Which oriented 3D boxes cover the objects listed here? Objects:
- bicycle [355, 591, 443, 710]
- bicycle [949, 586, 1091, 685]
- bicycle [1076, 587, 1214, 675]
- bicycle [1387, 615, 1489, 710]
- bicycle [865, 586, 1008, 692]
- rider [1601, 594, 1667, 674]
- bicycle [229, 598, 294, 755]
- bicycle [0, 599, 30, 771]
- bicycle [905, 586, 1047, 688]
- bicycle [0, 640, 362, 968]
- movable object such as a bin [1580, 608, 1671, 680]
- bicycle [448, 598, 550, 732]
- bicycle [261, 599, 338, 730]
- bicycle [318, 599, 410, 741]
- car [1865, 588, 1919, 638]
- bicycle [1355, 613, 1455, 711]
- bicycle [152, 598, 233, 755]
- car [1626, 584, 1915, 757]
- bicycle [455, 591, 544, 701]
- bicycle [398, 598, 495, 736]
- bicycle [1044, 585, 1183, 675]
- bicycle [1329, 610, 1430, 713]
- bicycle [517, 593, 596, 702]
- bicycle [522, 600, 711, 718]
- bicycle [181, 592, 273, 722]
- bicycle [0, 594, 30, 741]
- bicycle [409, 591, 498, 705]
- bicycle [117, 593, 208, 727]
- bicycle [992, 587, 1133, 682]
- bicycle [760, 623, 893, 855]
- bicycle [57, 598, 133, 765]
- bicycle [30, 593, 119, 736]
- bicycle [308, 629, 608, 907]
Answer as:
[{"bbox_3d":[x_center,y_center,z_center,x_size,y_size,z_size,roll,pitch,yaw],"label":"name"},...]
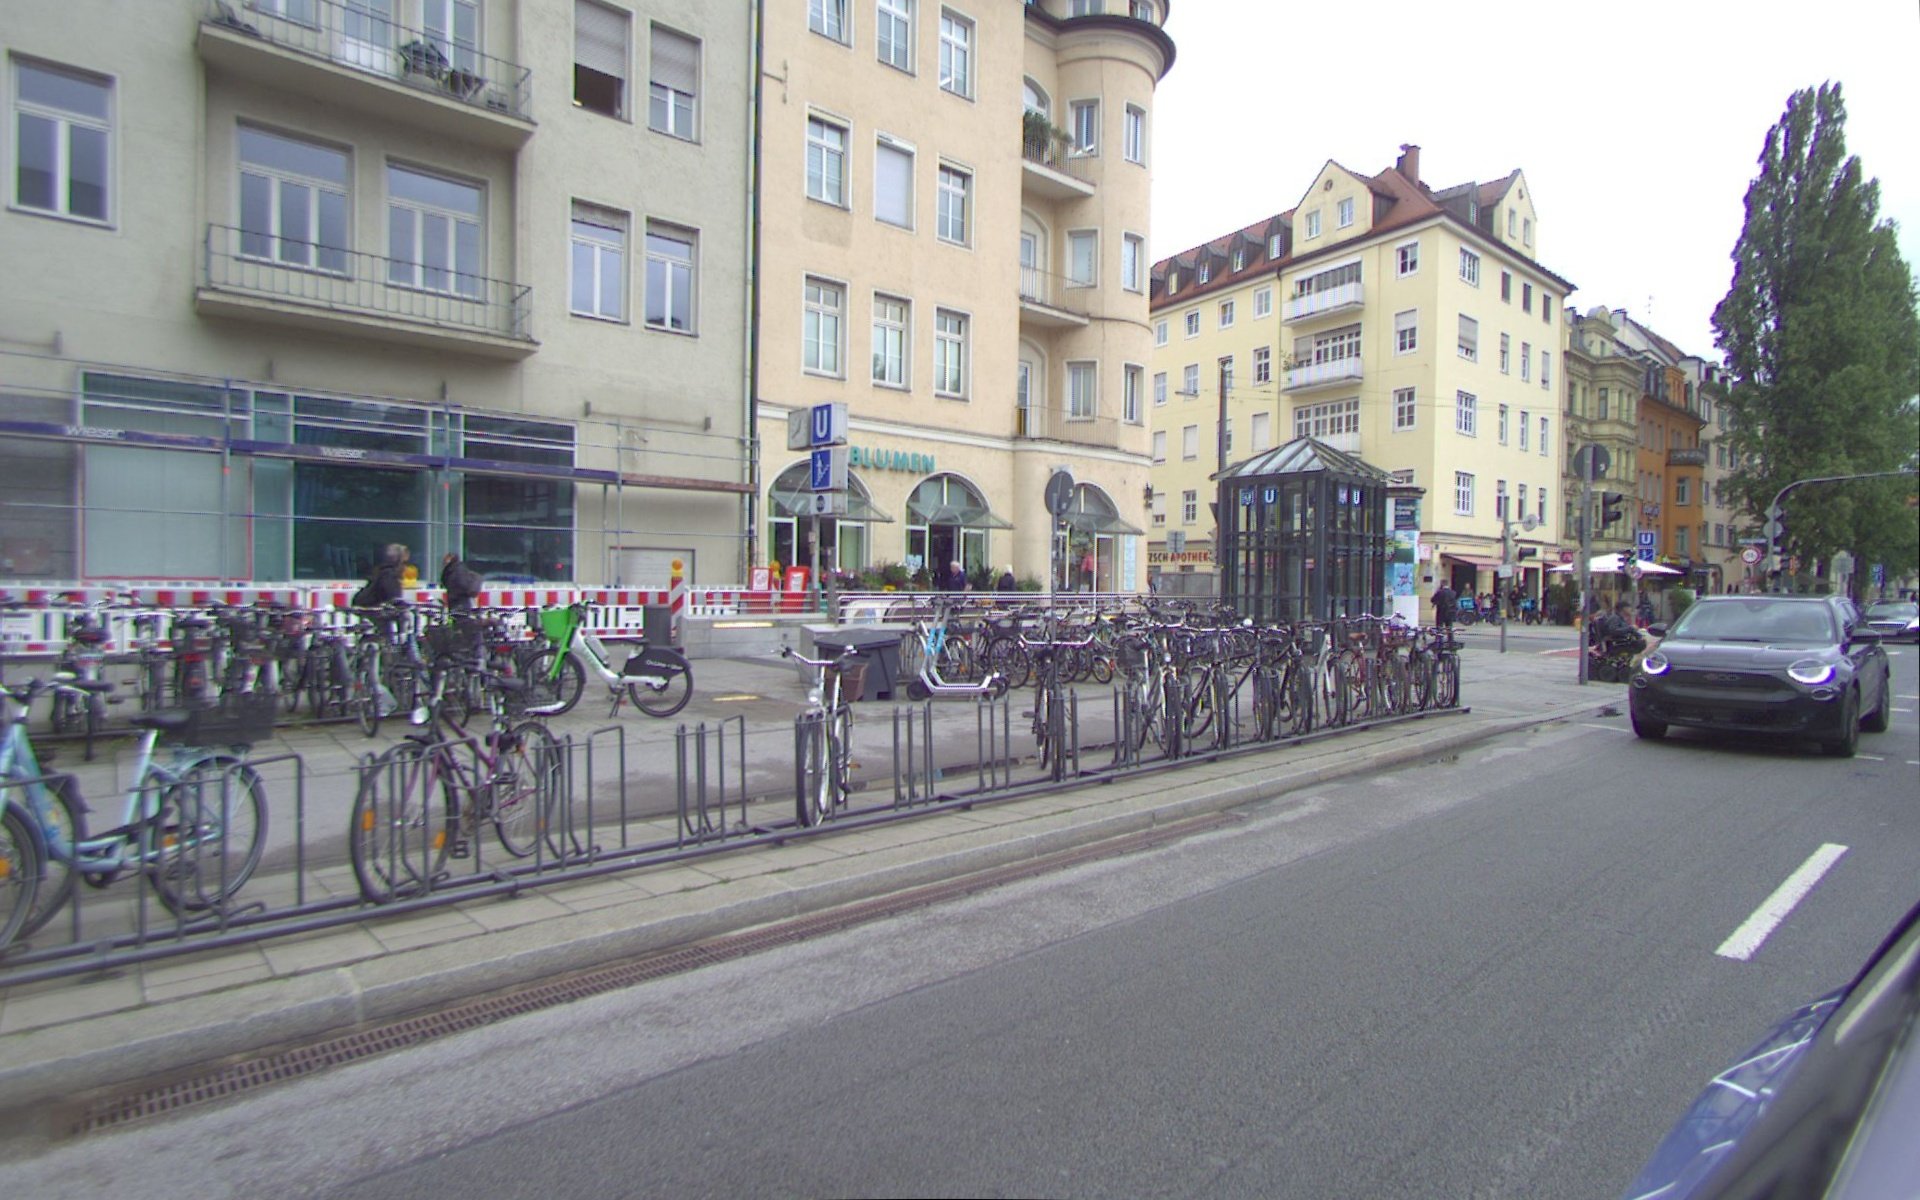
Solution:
[{"bbox_3d":[-5.813,0.485,10.457,0.403,1.091,1.449,0,3,-45],"label":"bicycle"},{"bbox_3d":[0.790,0.451,14.279,0.617,1.242,2.318,0,2,-38],"label":"bicycle"},{"bbox_3d":[2.888,0.450,16.090,0.617,1.242,2.318,0,2,-38],"label":"bicycle"},{"bbox_3d":[5.777,0.738,12.329,0.390,1.073,1.850,0,-2,2],"label":"bicycle"},{"bbox_3d":[-0.366,0.469,13.527,0.617,1.242,2.369,0,2,-38],"label":"bicycle"},{"bbox_3d":[11.284,0.552,16.937,0.721,1.256,0.731,-1,4,-43],"label":"rider"},{"bbox_3d":[-5.766,0.570,8.333,0.402,1.091,1.640,0,2,-36],"label":"bicycle"},{"bbox_3d":[-7.036,0.571,7.330,0.403,1.091,1.538,0,3,-41],"label":"bicycle"},{"bbox_3d":[0.168,0.460,13.928,0.617,1.242,2.344,0,2,-38],"label":"bicycle"},{"bbox_3d":[-3.278,0.702,4.174,0.390,1.073,1.849,0,-2,4],"label":"bicycle"},{"bbox_3d":[11.183,0.719,17.017,0.735,1.075,1.088,-1,4,-43],"label":"movable object such as a bin"},{"bbox_3d":[-4.358,0.561,9.520,0.403,1.091,1.654,0,3,-41],"label":"bicycle"},{"bbox_3d":[-6.361,0.575,9.718,0.403,1.091,1.528,0,3,-41],"label":"bicycle"},{"bbox_3d":[-5.333,0.574,9.023,0.403,1.091,1.624,0,3,-41],"label":"bicycle"},{"bbox_3d":[33.147,0.422,35.326,3.930,1.644,1.853,-1,1,-41],"label":"car"},{"bbox_3d":[5.235,0.720,12.016,0.390,1.073,1.850,0,-2,2],"label":"bicycle"},{"bbox_3d":[-6.283,0.564,8.258,0.403,1.091,1.660,0,3,-41],"label":"bicycle"},{"bbox_3d":[8.697,0.597,10.743,3.980,1.488,1.738,0,1,-41],"label":"car"},{"bbox_3d":[-5.102,0.471,11.169,0.403,1.091,1.449,0,3,-45],"label":"bicycle"},{"bbox_3d":[-4.721,0.567,9.262,0.403,1.091,1.604,0,3,-41],"label":"bicycle"},{"bbox_3d":[2.314,0.423,15.620,0.617,1.242,2.331,0,2,-38],"label":"bicycle"},{"bbox_3d":[4.687,0.675,11.425,0.390,1.073,1.850,0,-2,2],"label":"bicycle"},{"bbox_3d":[-4.642,0.502,11.586,0.403,1.091,1.651,0,2,-37],"label":"bicycle"},{"bbox_3d":[-3.389,0.578,10.037,1.728,1.091,0.410,1,2,0],"label":"bicycle"},{"bbox_3d":[-6.993,0.504,9.638,1.447,1.091,0.404,3,2,41],"label":"bicycle"},{"bbox_3d":[-8.077,0.527,8.380,1.447,1.091,0.404,3,2,41],"label":"bicycle"},{"bbox_3d":[-5.433,0.478,10.820,0.403,1.091,1.449,0,3,-45],"label":"bicycle"},{"bbox_3d":[-7.360,0.511,9.321,1.447,1.091,0.404,3,2,41],"label":"bicycle"},{"bbox_3d":[1.455,0.456,14.917,0.617,1.242,2.344,0,2,-38],"label":"bicycle"},{"bbox_3d":[-0.762,0.748,6.202,0.481,1.151,1.794,0,0,3],"label":"bicycle"},{"bbox_3d":[-6.589,0.563,7.698,0.403,1.091,1.527,0,3,-41],"label":"bicycle"},{"bbox_3d":[-7.733,0.519,8.826,1.447,1.091,0.404,3,2,41],"label":"bicycle"},{"bbox_3d":[-2.273,0.686,4.860,0.390,1.073,1.849,0,-2,4],"label":"bicycle"}]
